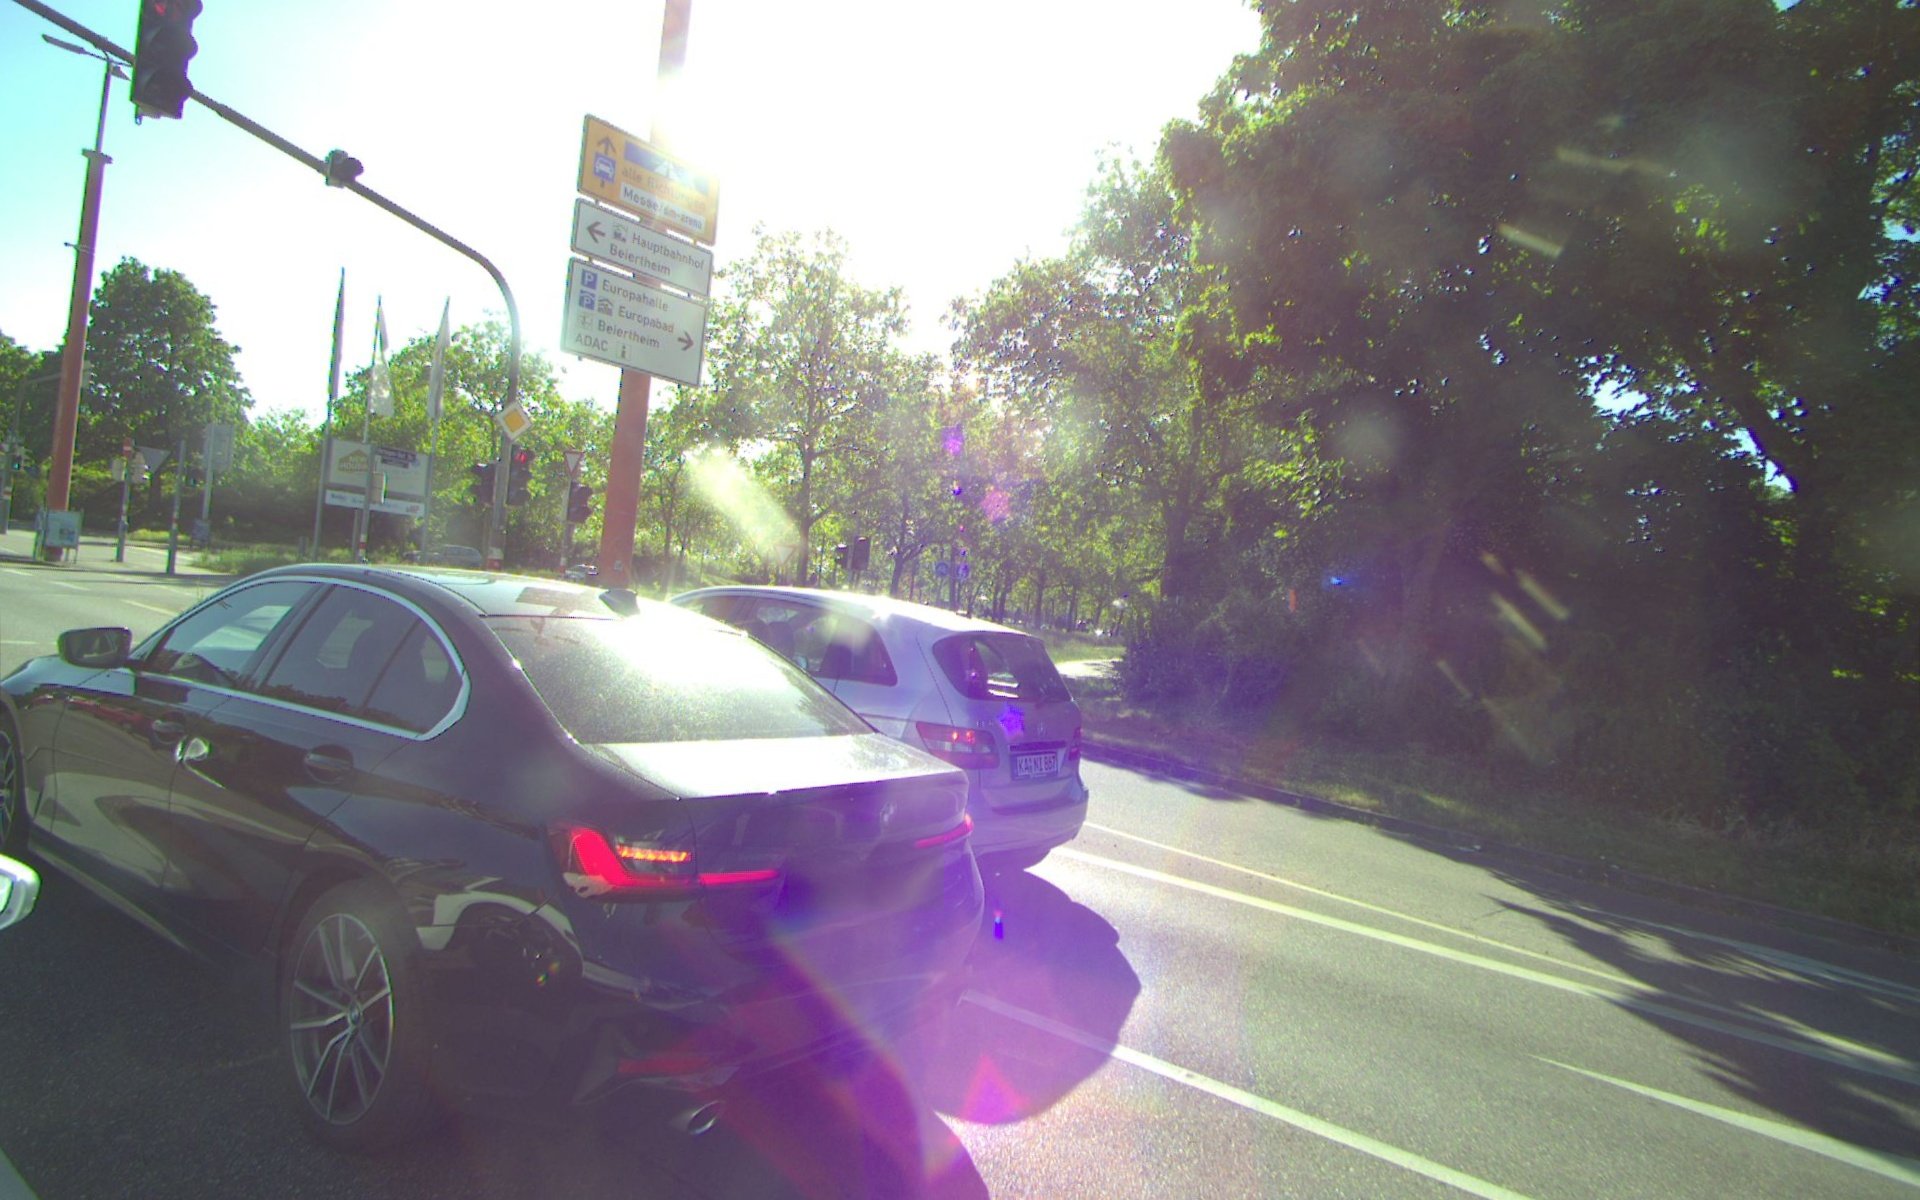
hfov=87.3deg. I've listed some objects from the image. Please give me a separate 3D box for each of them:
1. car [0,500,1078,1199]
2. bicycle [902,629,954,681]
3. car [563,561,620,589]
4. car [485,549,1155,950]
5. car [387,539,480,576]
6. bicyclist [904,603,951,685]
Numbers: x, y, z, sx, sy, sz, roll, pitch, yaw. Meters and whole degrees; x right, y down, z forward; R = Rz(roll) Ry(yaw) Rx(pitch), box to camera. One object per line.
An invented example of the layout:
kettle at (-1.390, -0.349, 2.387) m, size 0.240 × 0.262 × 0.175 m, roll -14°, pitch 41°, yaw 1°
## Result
car at (-1.994, 0.545, 3.823) m, size 4.371 × 1.415 × 1.871 m, roll 7°, pitch 0°, yaw 33°
bicycle at (-0.713, 1.246, 23.090) m, size 0.709 × 1.070 × 1.833 m, roll 7°, pitch -1°, yaw 11°
car at (-25.626, -1.744, 70.072) m, size 1.652 × 1.485 × 3.997 m, roll 7°, pitch -1°, yaw 14°
car at (-1.012, 0.708, 6.476) m, size 3.963 × 1.597 × 1.741 m, roll 7°, pitch 0°, yaw 33°
car at (-30.030, -2.405, 57.462) m, size 1.755 × 1.503 × 4.321 m, roll 7°, pitch -1°, yaw 31°
bicyclist at (-0.736, 1.000, 22.967) m, size 0.722 × 1.763 × 0.997 m, roll 7°, pitch 0°, yaw 8°
